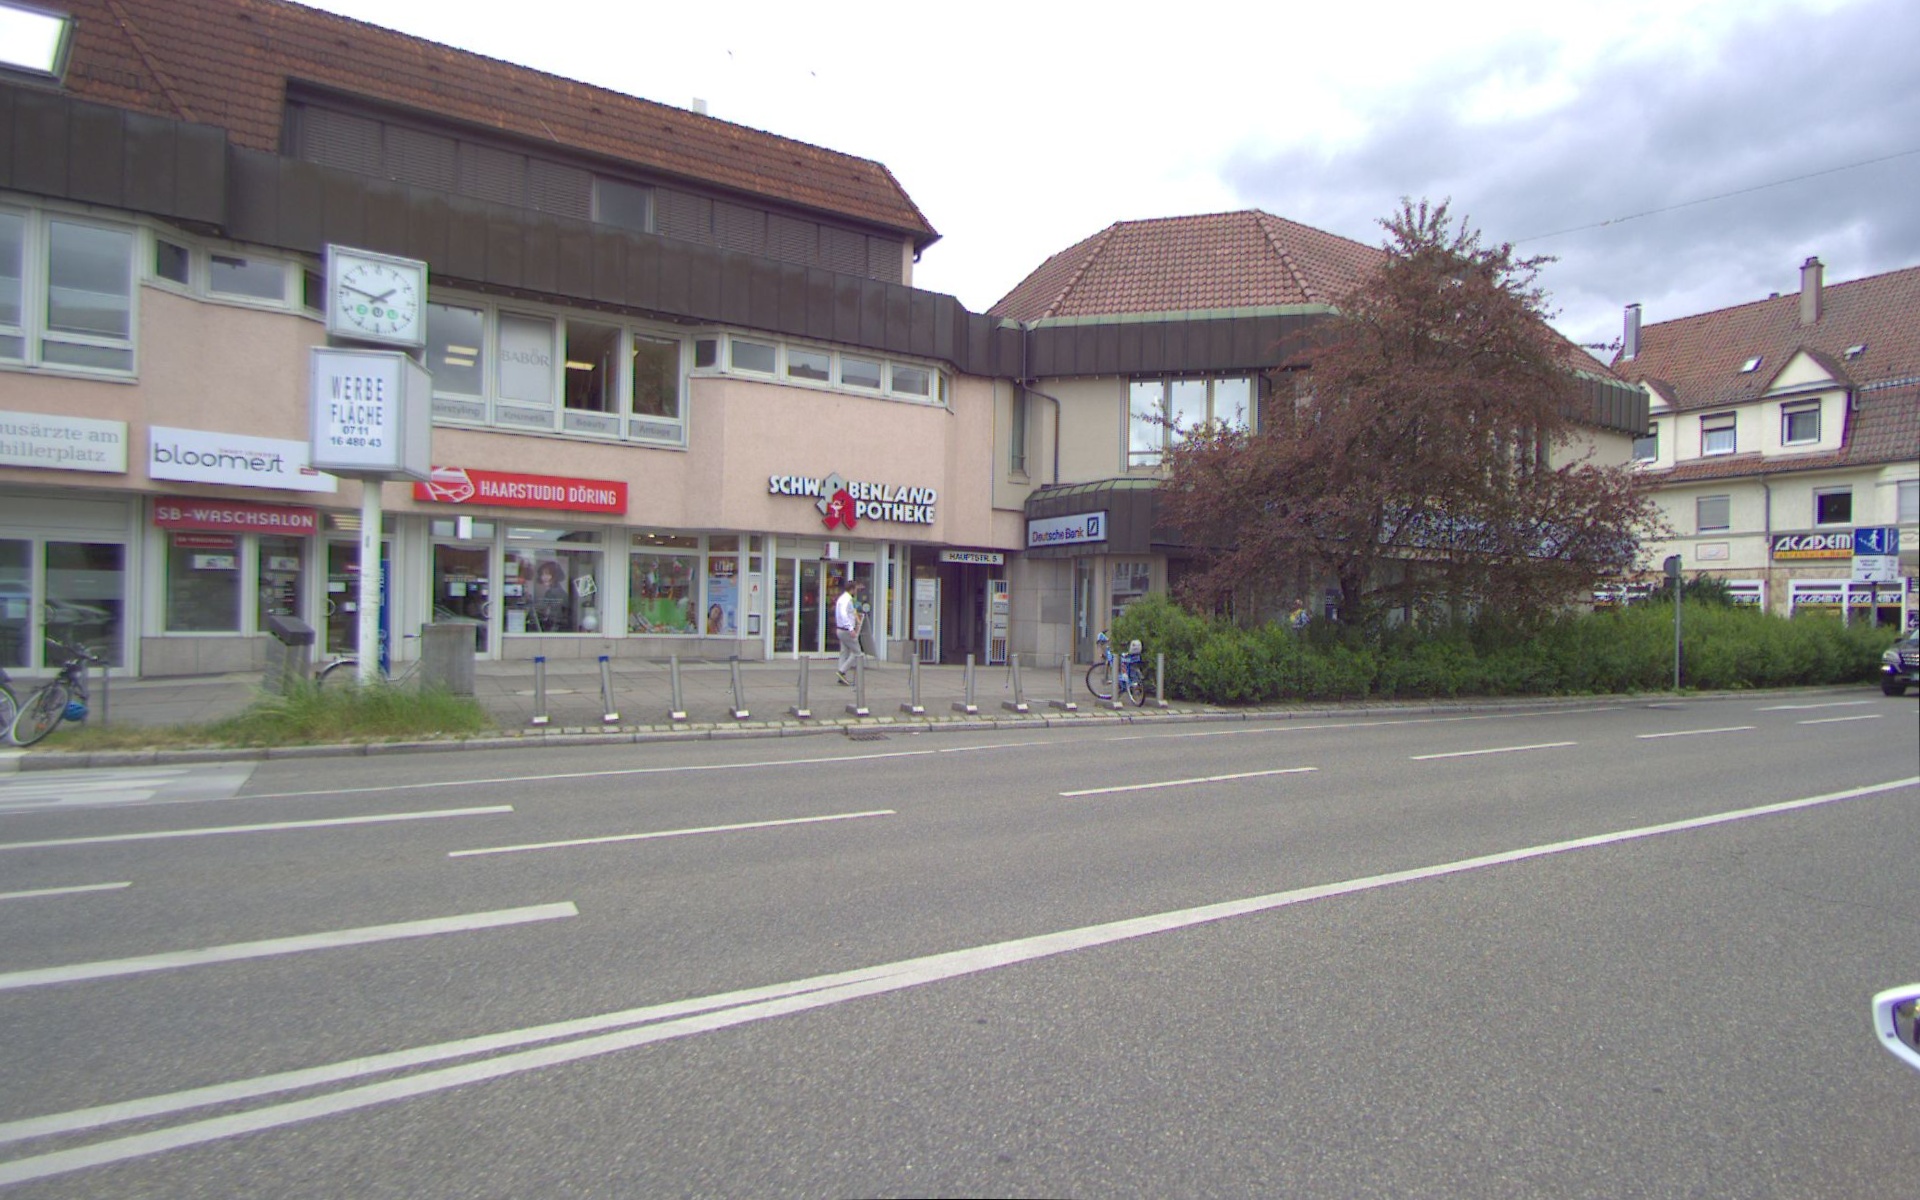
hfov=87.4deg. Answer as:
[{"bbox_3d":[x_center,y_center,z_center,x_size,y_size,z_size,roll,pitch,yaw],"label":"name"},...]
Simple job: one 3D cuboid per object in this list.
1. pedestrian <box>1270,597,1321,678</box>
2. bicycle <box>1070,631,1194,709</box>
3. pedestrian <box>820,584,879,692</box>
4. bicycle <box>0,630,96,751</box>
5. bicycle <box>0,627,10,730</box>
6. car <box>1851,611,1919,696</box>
[{"bbox_3d":[7.732,0.848,23.164,0.745,1.788,0.723,1,4,-26],"label":"pedestrian"},{"bbox_3d":[2.686,1.070,15.883,0.643,1.105,2.002,1,0,-39],"label":"bicycle"},{"bbox_3d":[-1.910,0.641,17.314,0.747,1.788,0.721,0,3,-32],"label":"pedestrian"},{"bbox_3d":[-9.591,0.894,10.594,0.643,1.105,2.002,1,0,-39],"label":"bicycle"},{"bbox_3d":[-10.619,0.861,10.634,0.643,1.105,2.002,1,0,-39],"label":"bicycle"},{"bbox_3d":[21.831,1.150,21.969,4.635,1.761,2.061,1,-2,-29],"label":"car"}]
